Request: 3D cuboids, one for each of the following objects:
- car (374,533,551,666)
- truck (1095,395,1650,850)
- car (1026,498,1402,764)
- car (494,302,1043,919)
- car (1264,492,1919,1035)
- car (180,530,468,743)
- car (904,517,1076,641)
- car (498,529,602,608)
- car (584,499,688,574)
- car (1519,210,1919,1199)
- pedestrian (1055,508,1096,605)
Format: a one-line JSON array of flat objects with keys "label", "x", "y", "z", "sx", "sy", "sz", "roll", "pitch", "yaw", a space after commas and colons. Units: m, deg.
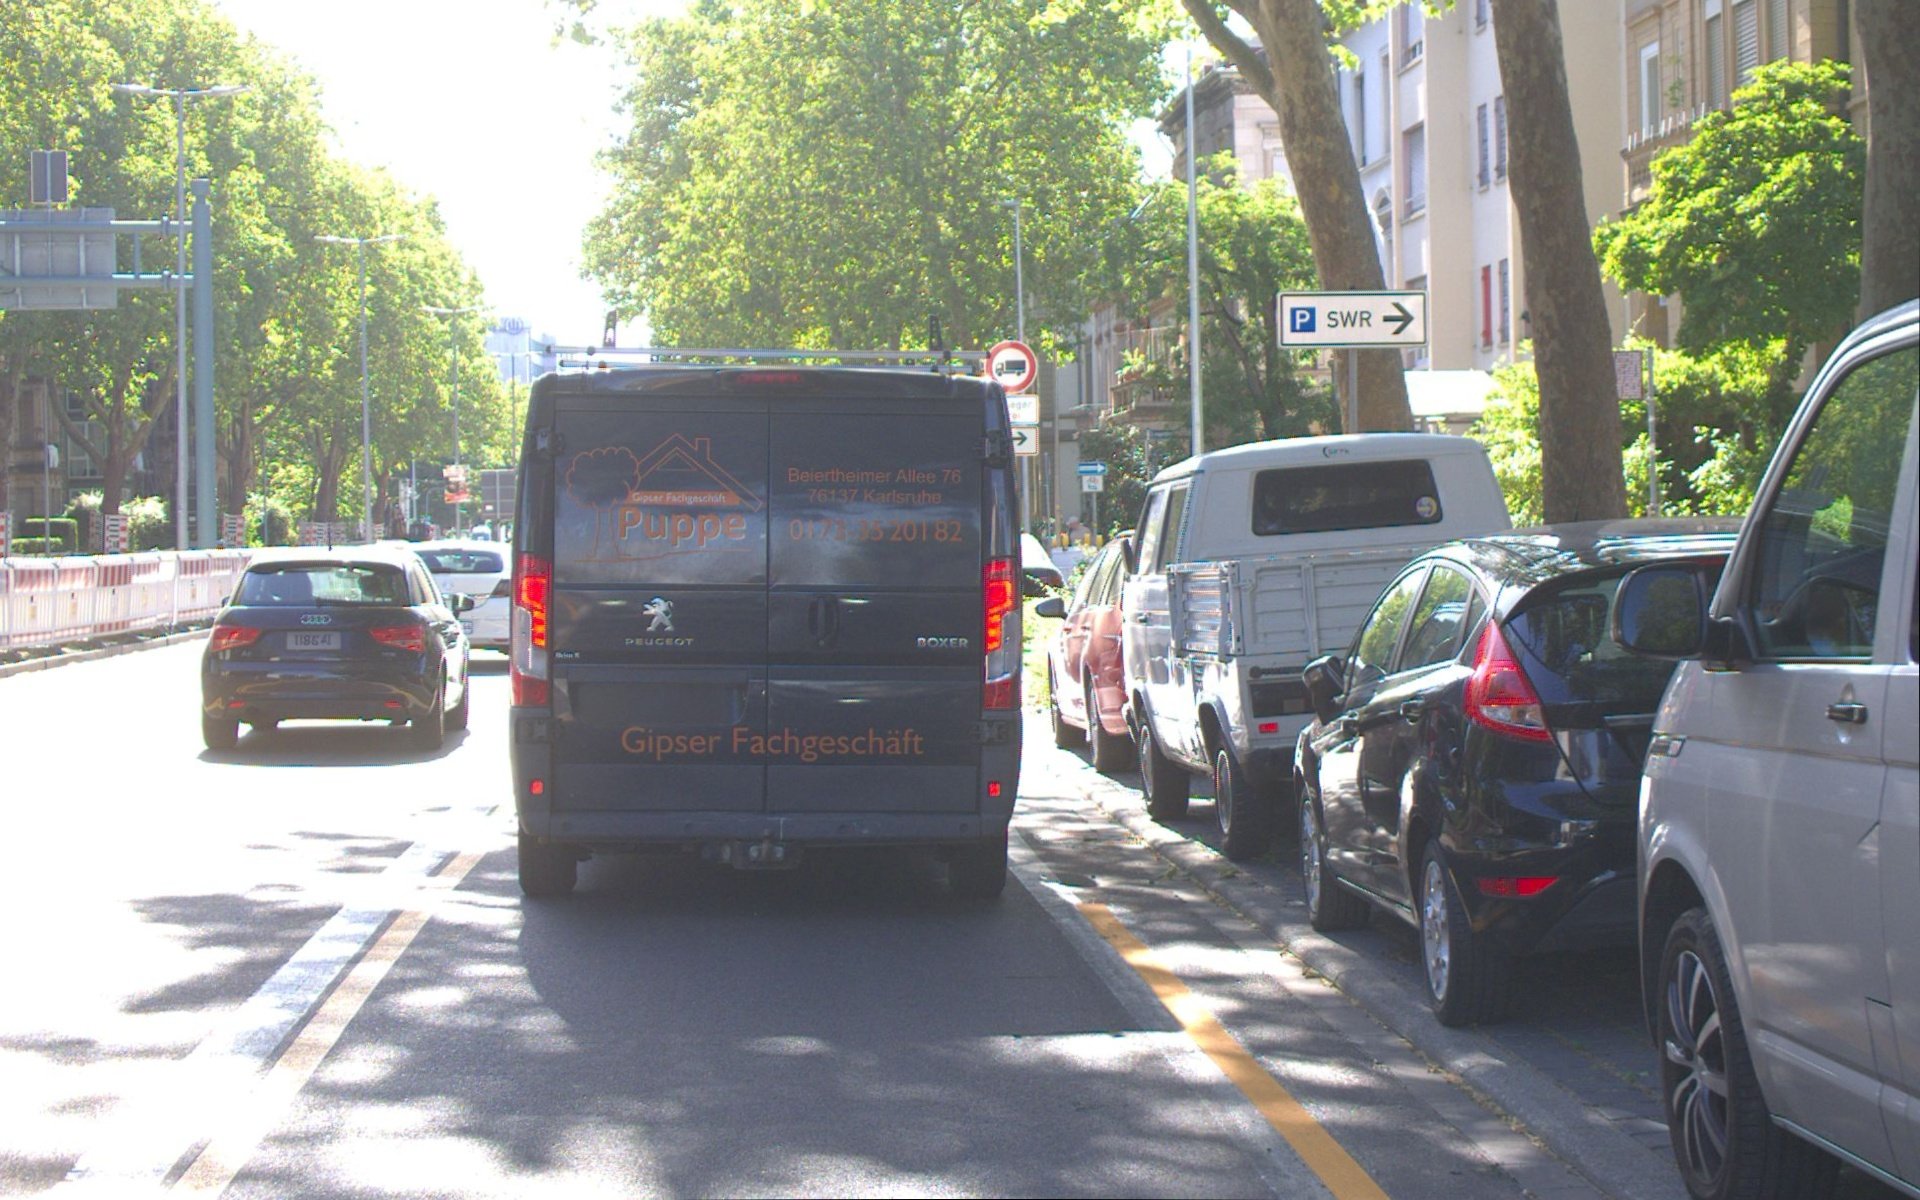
[{"label": "car", "x": -5.617, "y": -0.034, "z": 39.160, "sx": 1.547, "sy": 1.420, "sz": 3.555, "roll": -1, "pitch": 1, "yaw": -1}, {"label": "truck", "x": 1.847, "y": 0.053, "z": 16.836, "sx": 1.876, "sy": 1.875, "sz": 4.454, "roll": -2, "pitch": 1, "yaw": -3}, {"label": "car", "x": 1.538, "y": 0.141, "z": 22.483, "sx": 1.821, "sy": 1.502, "sz": 4.678, "roll": -2, "pitch": 1, "yaw": -3}, {"label": "car", "x": -0.884, "y": -0.024, "z": 15.120, "sx": 2.095, "sy": 2.347, "sz": 3.934, "roll": 0, "pitch": 2, "yaw": -5}, {"label": "car", "x": 2.169, "y": 0.405, "z": 11.591, "sx": 1.747, "sy": 1.472, "sz": 4.102, "roll": -2, "pitch": 1, "yaw": -2}, {"label": "car", "x": -4.623, "y": 0.214, "z": 25.463, "sx": 1.746, "sy": 1.402, "sz": 4.001, "roll": 0, "pitch": 2, "yaw": -5}, {"label": "car", "x": 0.325, "y": -0.298, "z": 43.312, "sx": 1.844, "sy": 1.437, "sz": 4.488, "roll": -1, "pitch": 1, "yaw": -3}, {"label": "car", "x": -6.682, "y": -0.533, "z": 56.305, "sx": 1.421, "sy": 1.221, "sz": 3.438, "roll": -1, "pitch": 1, "yaw": -3}, {"label": "car", "x": -7.177, "y": -1.410, "z": 76.561, "sx": 1.993, "sy": 1.583, "sz": 4.000, "roll": -1, "pitch": 1, "yaw": -1}, {"label": "car", "x": 2.583, "y": 0.315, "z": 5.853, "sx": 2.025, "sy": 1.940, "sz": 5.274, "roll": -1, "pitch": 1, "yaw": -4}, {"label": "pedestrian", "x": 2.424, "y": -0.930, "z": 72.499, "sx": 0.798, "sy": 2.007, "sz": 1.168, "roll": -1, "pitch": 1, "yaw": 1}]
